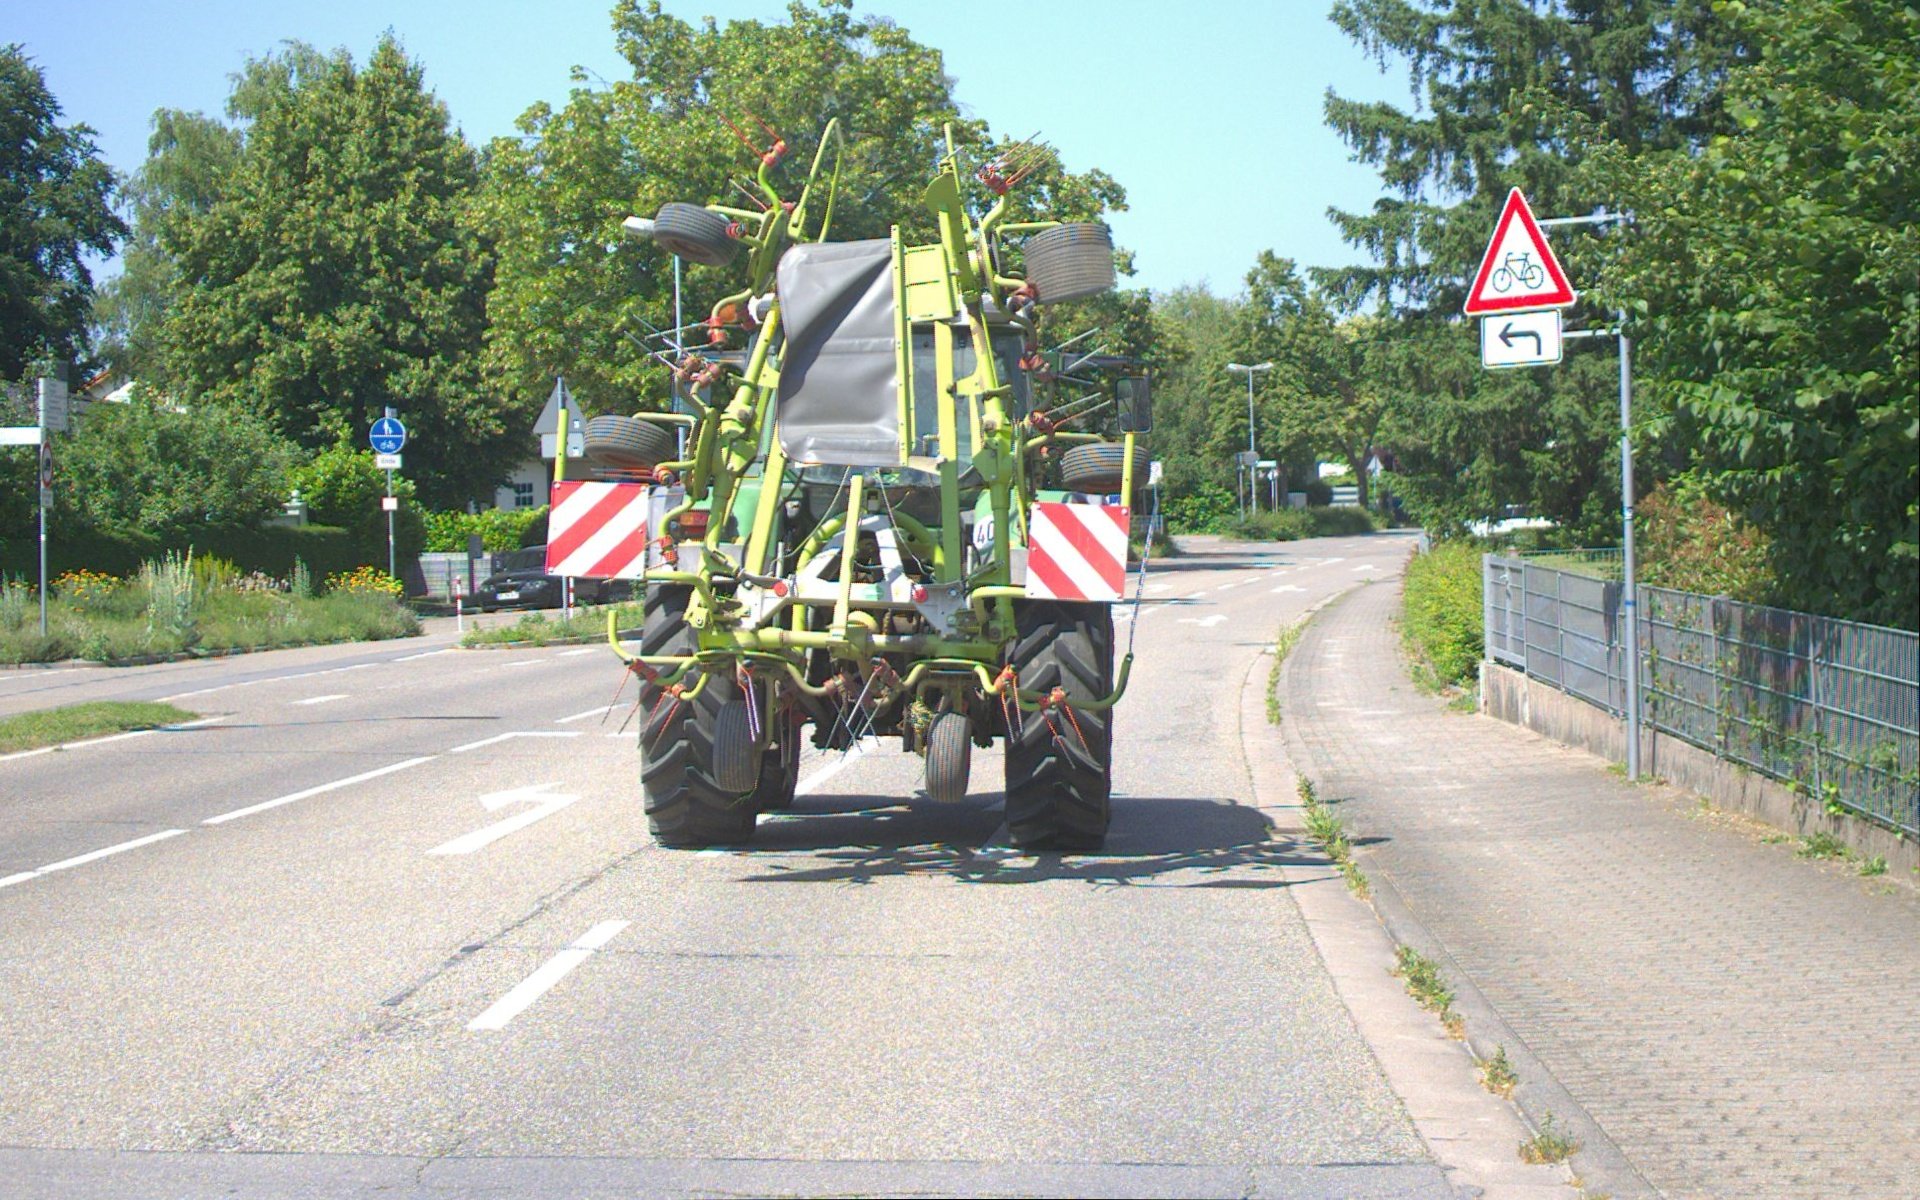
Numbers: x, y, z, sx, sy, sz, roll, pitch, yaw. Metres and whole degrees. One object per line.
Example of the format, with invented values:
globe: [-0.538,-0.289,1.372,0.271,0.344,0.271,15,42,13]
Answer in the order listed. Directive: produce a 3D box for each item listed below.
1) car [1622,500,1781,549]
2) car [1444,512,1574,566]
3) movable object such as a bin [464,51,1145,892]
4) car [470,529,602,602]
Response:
car: [19.793,-2.028,91.788,3.810,1.290,1.684,0,2,-7]
car: [18.075,-2.026,113.360,3.987,1.709,1.863,-1,1,0]
movable object such as a bin: [-0.444,-0.642,19.413,2.853,3.529,9.700,-1,1,3]
car: [-9.204,-0.776,74.918,1.689,1.525,3.998,0,1,11]
